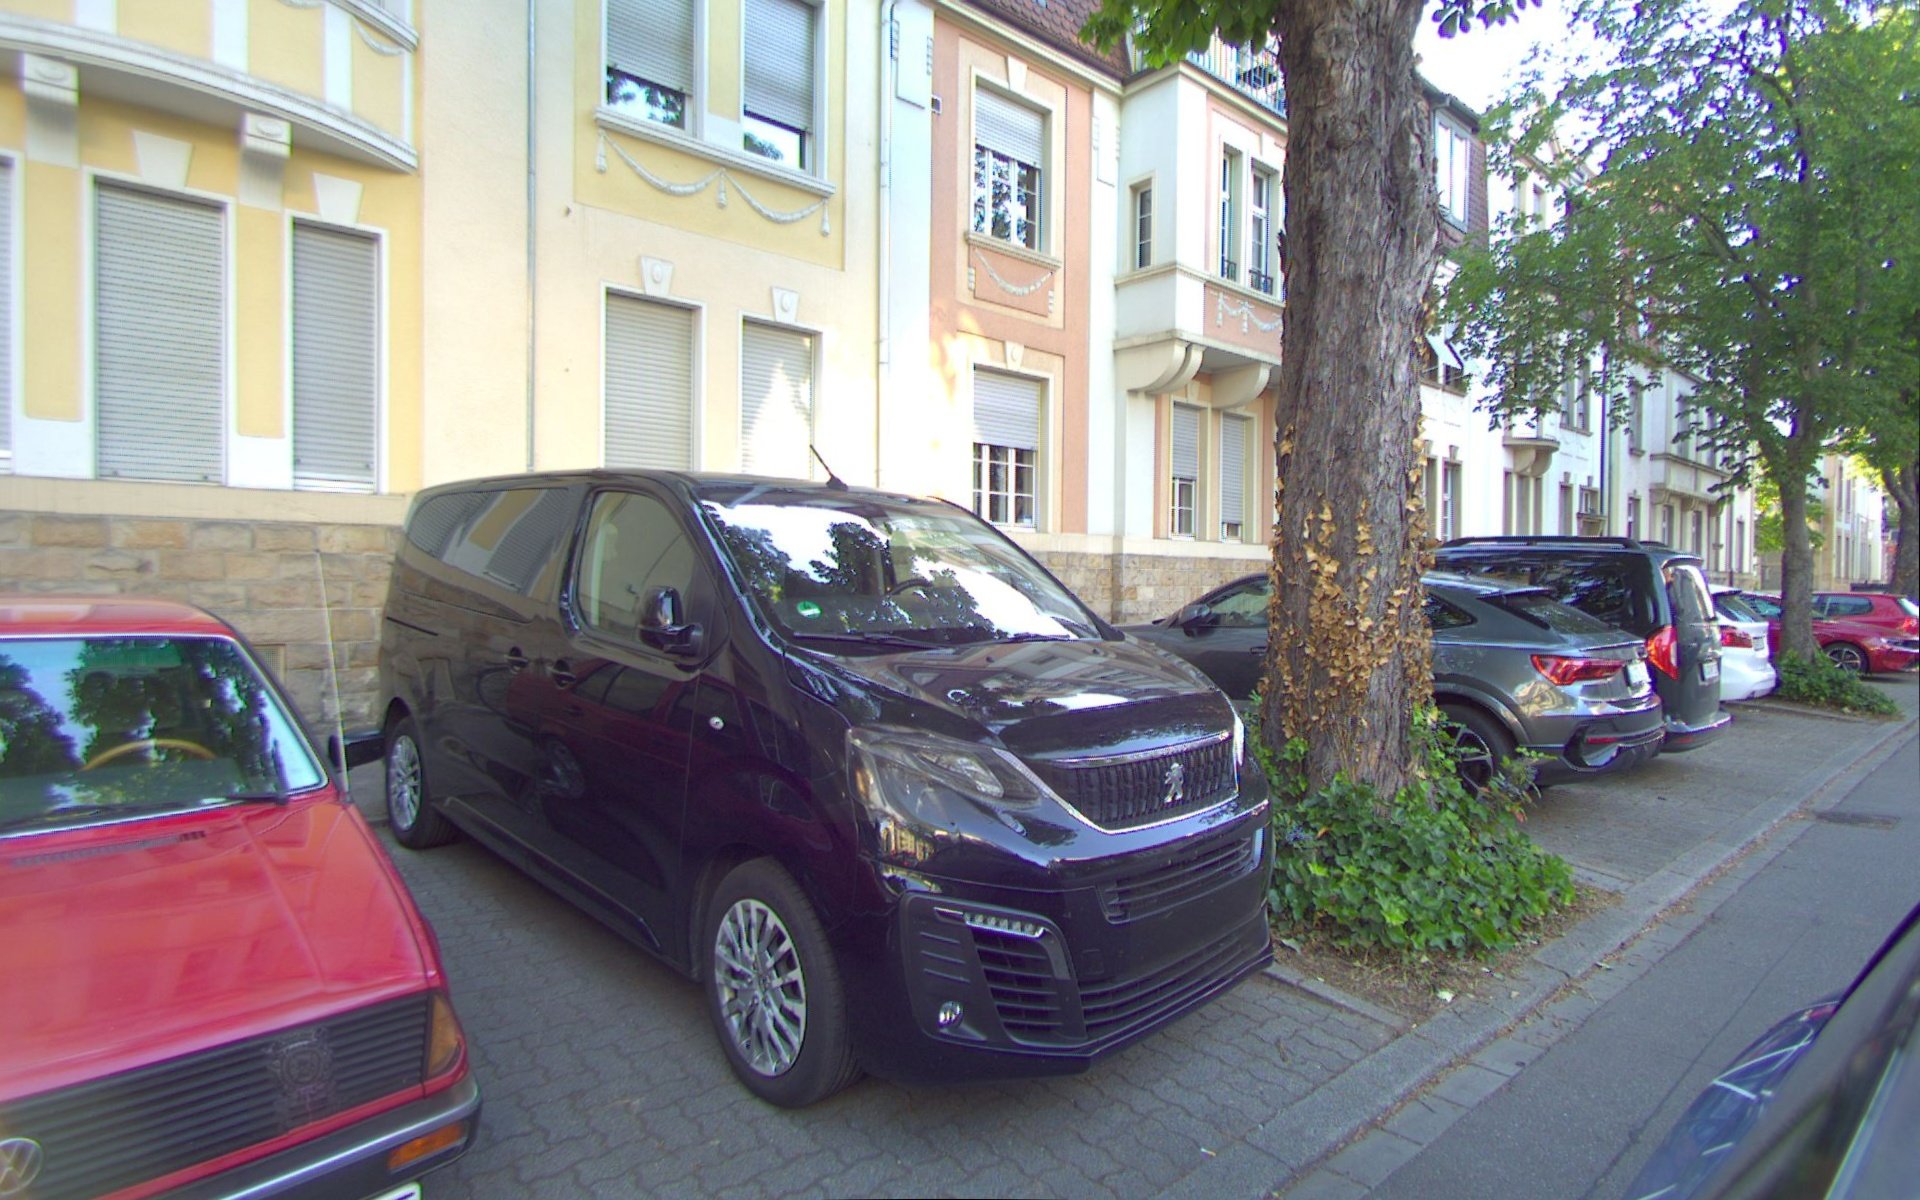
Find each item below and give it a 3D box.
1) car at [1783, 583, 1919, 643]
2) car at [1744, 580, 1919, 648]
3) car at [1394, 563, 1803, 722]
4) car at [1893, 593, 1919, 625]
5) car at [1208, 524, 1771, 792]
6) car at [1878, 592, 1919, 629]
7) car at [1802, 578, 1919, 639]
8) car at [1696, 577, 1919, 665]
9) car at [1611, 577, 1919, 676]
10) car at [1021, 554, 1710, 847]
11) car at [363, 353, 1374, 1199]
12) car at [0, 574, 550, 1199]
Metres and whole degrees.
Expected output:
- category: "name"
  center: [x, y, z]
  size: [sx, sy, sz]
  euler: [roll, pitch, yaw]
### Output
- category: "car"
  center: [24.008, 0.317, 26.410]
  size: [1.548, 1.416, 3.681]
  euler: [0, 3, -39]
- category: "car"
  center: [21.856, 0.296, 24.972]
  size: [1.548, 1.484, 3.681]
  euler: [0, 3, -39]
- category: "car"
  center: [7.706, 0.378, 12.522]
  size: [1.689, 1.597, 3.948]
  euler: [0, 3, -41]
- category: "car"
  center: [34.279, 0.374, 34.529]
  size: [1.515, 1.076, 3.399]
  euler: [0, 3, -39]
- category: "car"
  center: [4.522, 0.311, 9.142]
  size: [1.814, 1.860, 4.116]
  euler: [-1, 3, -42]
- category: "car"
  center: [31.898, 0.376, 32.466]
  size: [1.515, 1.164, 3.399]
  euler: [0, 3, -39]
- category: "car"
  center: [25.873, 0.229, 28.030]
  size: [1.548, 1.576, 3.681]
  euler: [0, 3, -39]
- category: "car"
  center: [16.898, 0.353, 19.816]
  size: [1.628, 1.499, 3.682]
  euler: [0, 2, -38]
- category: "car"
  center: [14.789, 0.383, 18.460]
  size: [1.833, 1.470, 4.533]
  euler: [0, 3, -38]
- category: "car"
  center: [2.748, 0.461, 7.699]
  size: [1.815, 1.542, 4.513]
  euler: [-1, 3, -44]
- category: "car"
  center: [-0.935, 0.329, 4.472]
  size: [1.867, 1.897, 4.753]
  euler: [-1, 3, -44]
- category: "car"
  center: [-2.870, 0.633, 3.031]
  size: [1.603, 1.332, 4.139]
  euler: [-1, 3, -44]
